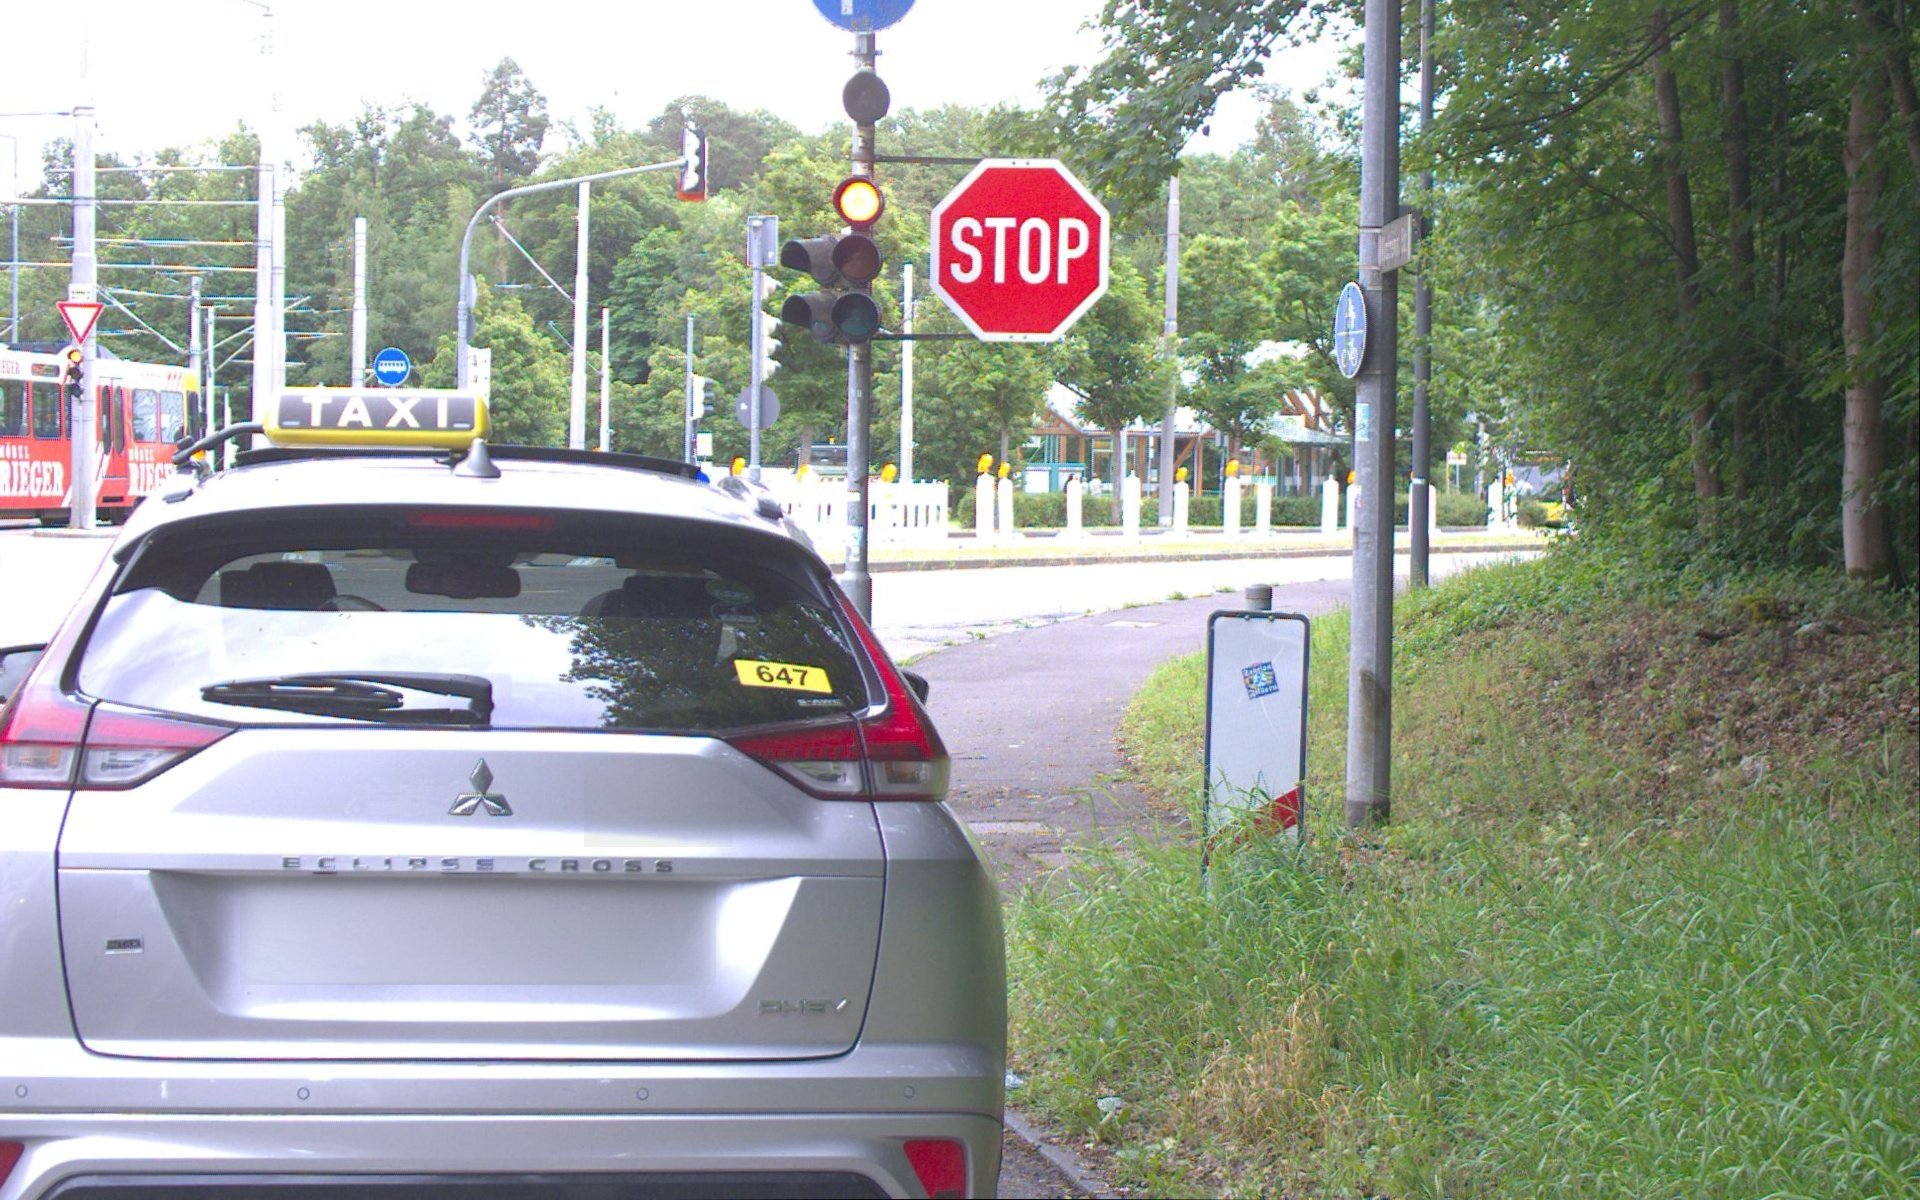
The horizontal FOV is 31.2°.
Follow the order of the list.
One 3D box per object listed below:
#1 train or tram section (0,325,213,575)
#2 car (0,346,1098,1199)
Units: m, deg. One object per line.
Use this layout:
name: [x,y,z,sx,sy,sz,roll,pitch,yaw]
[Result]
train or tram section: [-18.980,-2.834,66.761,2.947,4.634,18.541,1,1,6]
car: [-0.998,0.472,6.831,1.773,1.742,3.782,2,2,-9]
